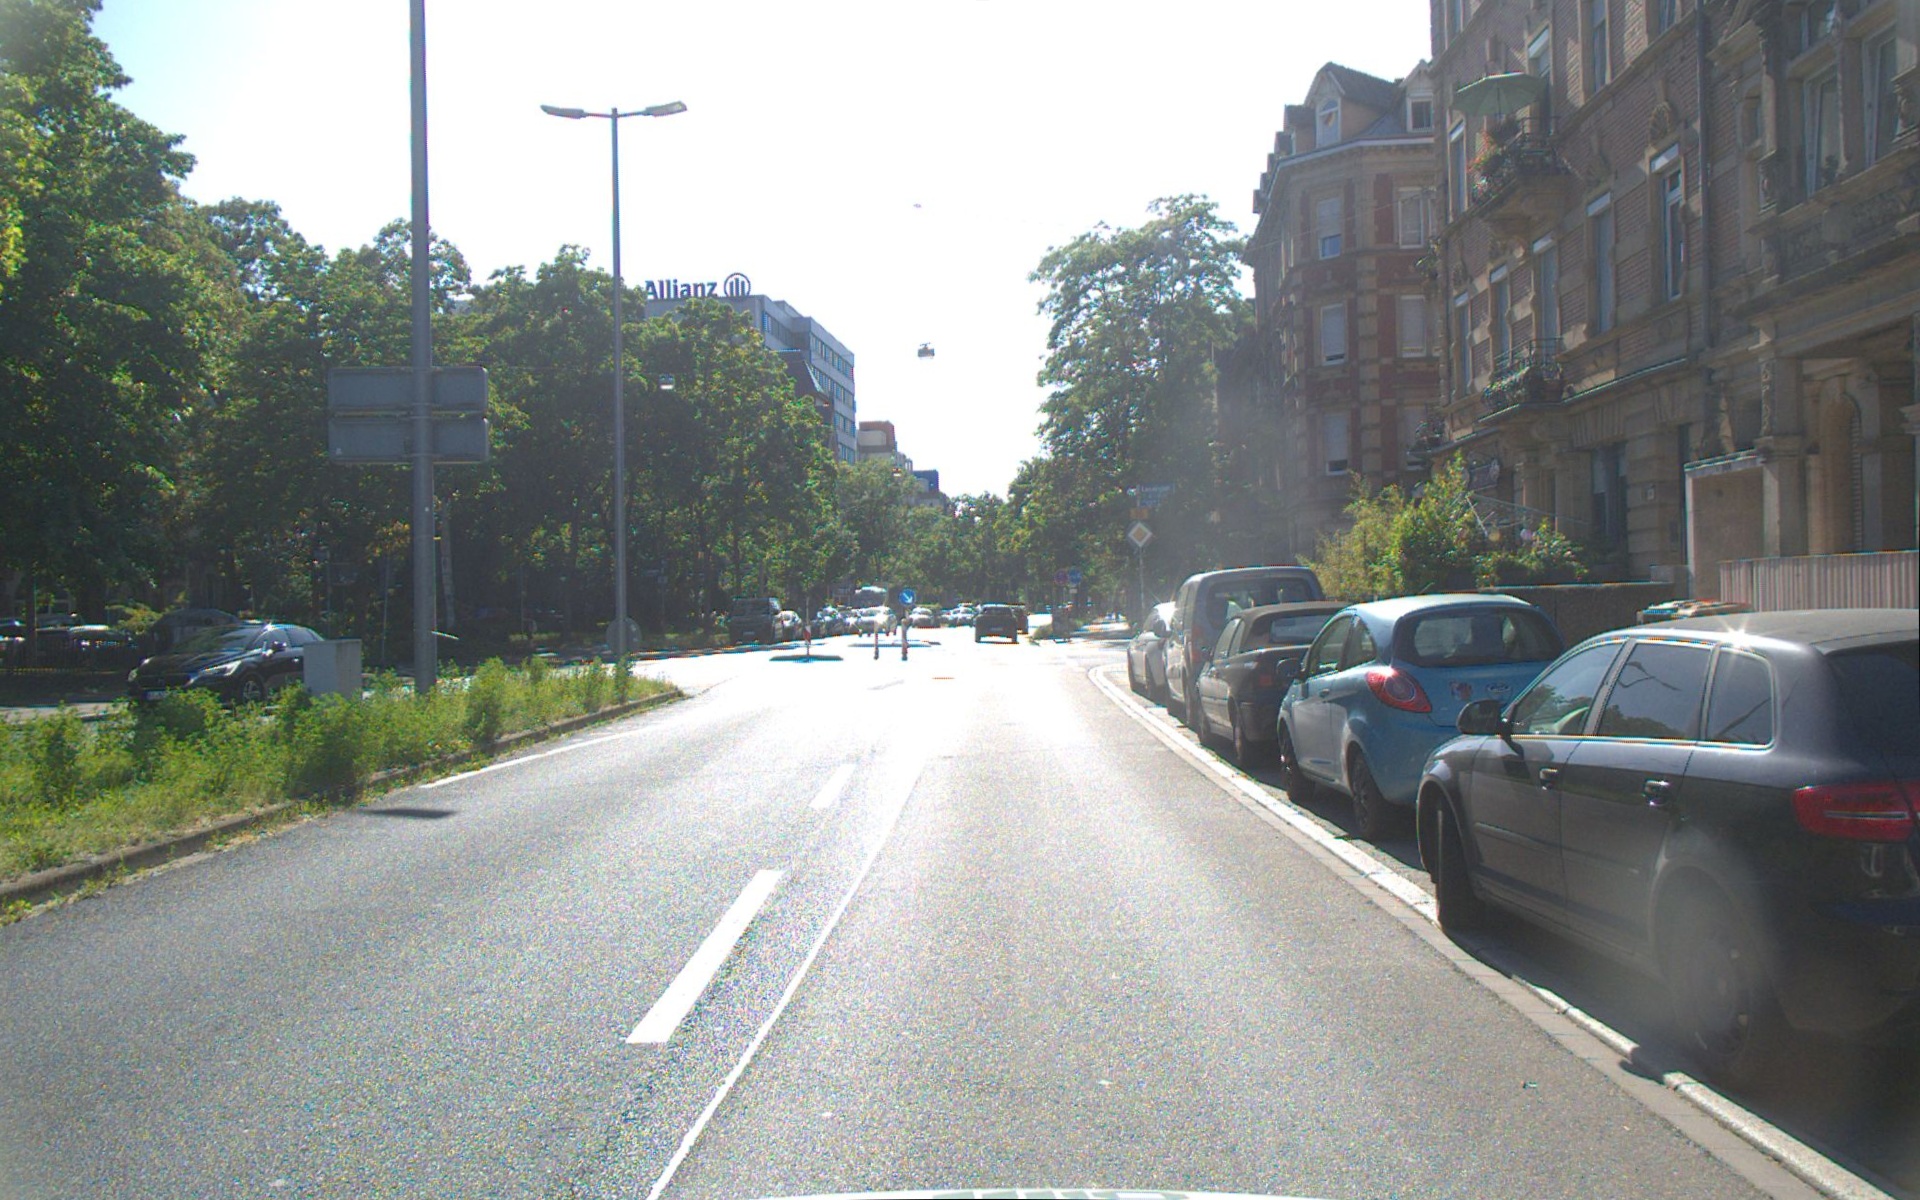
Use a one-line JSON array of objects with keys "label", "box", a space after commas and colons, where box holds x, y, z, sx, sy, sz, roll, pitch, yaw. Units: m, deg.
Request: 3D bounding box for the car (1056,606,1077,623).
[{"label": "car", "box": [11.143, 1.515, 172.857, 1.879, 1.668, 4.003, -2, 0, 6]}]

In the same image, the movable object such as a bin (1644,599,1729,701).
[{"label": "movable object such as a bin", "box": [8.518, 0.594, 19.410, 0.707, 1.177, 0.608, 0, -3, 2]}]

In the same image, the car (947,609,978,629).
[{"label": "car", "box": [0.225, 1.419, 122.592, 1.746, 1.486, 4.418, -1, -1, 8]}]

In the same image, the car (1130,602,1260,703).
[{"label": "car", "box": [3.626, 0.763, 26.077, 1.674, 1.450, 4.207, 0, 0, 3]}]

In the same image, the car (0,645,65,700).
[{"label": "car", "box": [-27.706, 2.093, 47.438, 1.807, 1.517, 3.999, 0, -3, 1]}]

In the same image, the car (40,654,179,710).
[{"label": "car", "box": [-24.226, 2.340, 47.268, 1.807, 1.517, 3.999, 0, -3, 1]}]

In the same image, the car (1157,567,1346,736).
[{"label": "car", "box": [3.581, 0.580, 21.025, 1.781, 1.876, 4.366, -2, 0, 3]}]

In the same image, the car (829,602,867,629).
[{"label": "car", "box": [-6.472, 0.882, 95.711, 1.491, 1.457, 3.340, -1, 0, 8]}]

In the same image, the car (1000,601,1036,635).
[{"label": "car", "box": [3.213, 0.980, 90.779, 1.781, 1.771, 4.002, -1, 0, 5]}]

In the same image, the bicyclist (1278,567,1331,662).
[{"label": "bicyclist", "box": [5.978, 0.240, 28.741, 0.726, 1.608, 1.100, 0, 1, 2]}]

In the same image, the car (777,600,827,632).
[{"label": "car", "box": [-8.160, 0.824, 85.534, 1.721, 1.545, 3.862, -1, 0, 8]}]

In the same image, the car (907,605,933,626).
[{"label": "car", "box": [-3.111, 1.222, 128.307, 1.764, 1.530, 3.809, -1, 0, 2]}]

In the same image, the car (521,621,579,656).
[{"label": "car", "box": [-21.252, 1.963, 85.653, 1.954, 1.691, 3.961, -2, 0, -29]}]

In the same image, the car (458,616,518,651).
[{"label": "car", "box": [-23.749, 1.664, 83.157, 1.955, 1.691, 3.959, -2, 0, -30]}]

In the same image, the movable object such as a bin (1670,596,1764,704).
[{"label": "movable object such as a bin", "box": [8.452, 0.565, 18.490, 0.743, 1.177, 0.608, 0, -3, 2]}]

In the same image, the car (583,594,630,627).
[{"label": "car", "box": [-18.898, 0.571, 88.367, 1.946, 1.691, 3.977, -1, 0, -19]}]

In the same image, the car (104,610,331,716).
[{"label": "car", "box": [-11.897, 0.945, 26.843, 1.759, 1.545, 4.422, 0, 0, -1]}]

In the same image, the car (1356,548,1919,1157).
[{"label": "car", "box": [3.089, 0.613, 6.492, 1.895, 1.545, 4.483, -2, 0, -1]}]

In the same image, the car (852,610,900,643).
[{"label": "car", "box": [-4.344, 1.375, 86.156, 1.721, 1.545, 3.863, -3, 1, 8]}]

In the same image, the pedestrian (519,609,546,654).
[{"label": "pedestrian", "box": [-16.002, 1.192, 61.905, 0.656, 1.655, 0.713, -1, 0, 34]}]

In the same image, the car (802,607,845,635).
[{"label": "car", "box": [-7.445, 1.127, 90.629, 1.491, 1.457, 3.557, -1, 0, 9]}]

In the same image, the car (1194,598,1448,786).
[{"label": "car", "box": [3.274, 0.758, 15.754, 1.633, 1.493, 4.275, -2, 0, 3]}]

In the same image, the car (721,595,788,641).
[{"label": "car", "box": [-9.182, 0.783, 74.343, 2.153, 1.963, 4.864, -1, 0, 3]}]

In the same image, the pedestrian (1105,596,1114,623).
[{"label": "pedestrian", "box": [11.470, 0.727, 127.280, 0.602, 2.049, 0.681, -1, 0, 1]}]

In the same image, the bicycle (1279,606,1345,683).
[{"label": "bicycle", "box": [6.083, 0.753, 28.658, 0.725, 1.240, 1.960, -3, 0, 2]}]

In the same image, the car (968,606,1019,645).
[{"label": "car", "box": [1.377, 1.050, 68.667, 1.856, 1.545, 3.998, 1, 0, -3]}]

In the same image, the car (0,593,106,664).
[{"label": "car", "box": [-33.531, 1.093, 60.528, 1.807, 2.365, 4.984, 0, -4, 1]}]

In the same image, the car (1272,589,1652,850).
[{"label": "car", "box": [3.290, 0.694, 11.451, 1.588, 1.496, 3.298, -1, 1, 0]}]
